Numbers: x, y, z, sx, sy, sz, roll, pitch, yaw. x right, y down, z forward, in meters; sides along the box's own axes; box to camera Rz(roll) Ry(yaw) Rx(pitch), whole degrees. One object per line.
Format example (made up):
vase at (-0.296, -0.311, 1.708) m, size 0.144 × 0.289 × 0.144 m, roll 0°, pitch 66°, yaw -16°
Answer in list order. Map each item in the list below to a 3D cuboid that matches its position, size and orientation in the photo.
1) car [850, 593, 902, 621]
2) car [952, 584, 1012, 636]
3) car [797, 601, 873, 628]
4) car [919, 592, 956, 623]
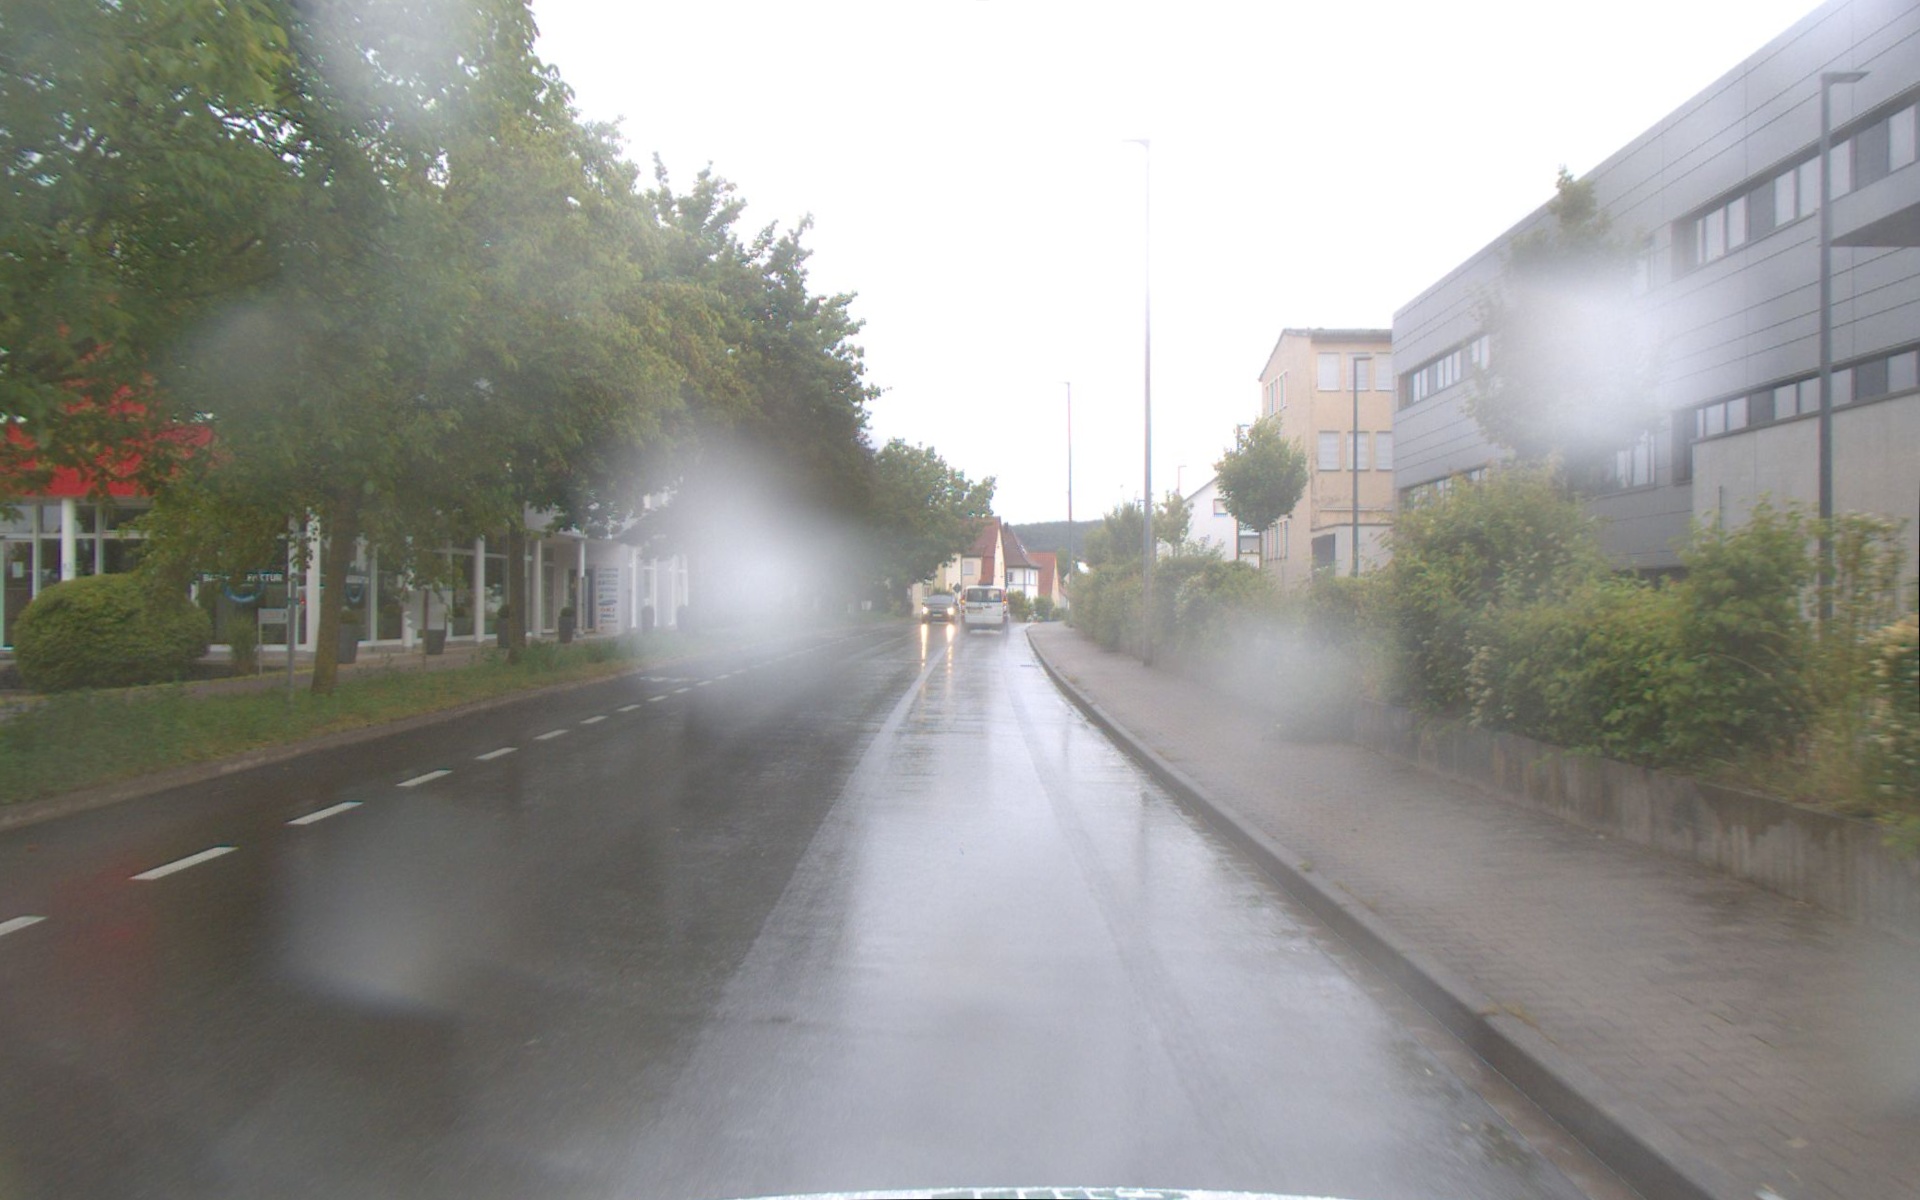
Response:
car at (-4.863, 0.415, 95.755) m, size 2.847 × 1.481 × 1.253 m, roll -2°, pitch -3°, yaw 3°
car at (0.809, 0.361, 64.459) m, size 2.075 × 1.921 × 4.500 m, roll 1°, pitch 1°, yaw -3°
car at (-6.598, 0.755, 87.401) m, size 3.818 × 1.306 × 1.582 m, roll -2°, pitch -1°, yaw 3°
car at (-1.228, 0.405, 91.278) m, size 1.812 × 1.582 × 4.503 m, roll 1°, pitch 1°, yaw 2°
